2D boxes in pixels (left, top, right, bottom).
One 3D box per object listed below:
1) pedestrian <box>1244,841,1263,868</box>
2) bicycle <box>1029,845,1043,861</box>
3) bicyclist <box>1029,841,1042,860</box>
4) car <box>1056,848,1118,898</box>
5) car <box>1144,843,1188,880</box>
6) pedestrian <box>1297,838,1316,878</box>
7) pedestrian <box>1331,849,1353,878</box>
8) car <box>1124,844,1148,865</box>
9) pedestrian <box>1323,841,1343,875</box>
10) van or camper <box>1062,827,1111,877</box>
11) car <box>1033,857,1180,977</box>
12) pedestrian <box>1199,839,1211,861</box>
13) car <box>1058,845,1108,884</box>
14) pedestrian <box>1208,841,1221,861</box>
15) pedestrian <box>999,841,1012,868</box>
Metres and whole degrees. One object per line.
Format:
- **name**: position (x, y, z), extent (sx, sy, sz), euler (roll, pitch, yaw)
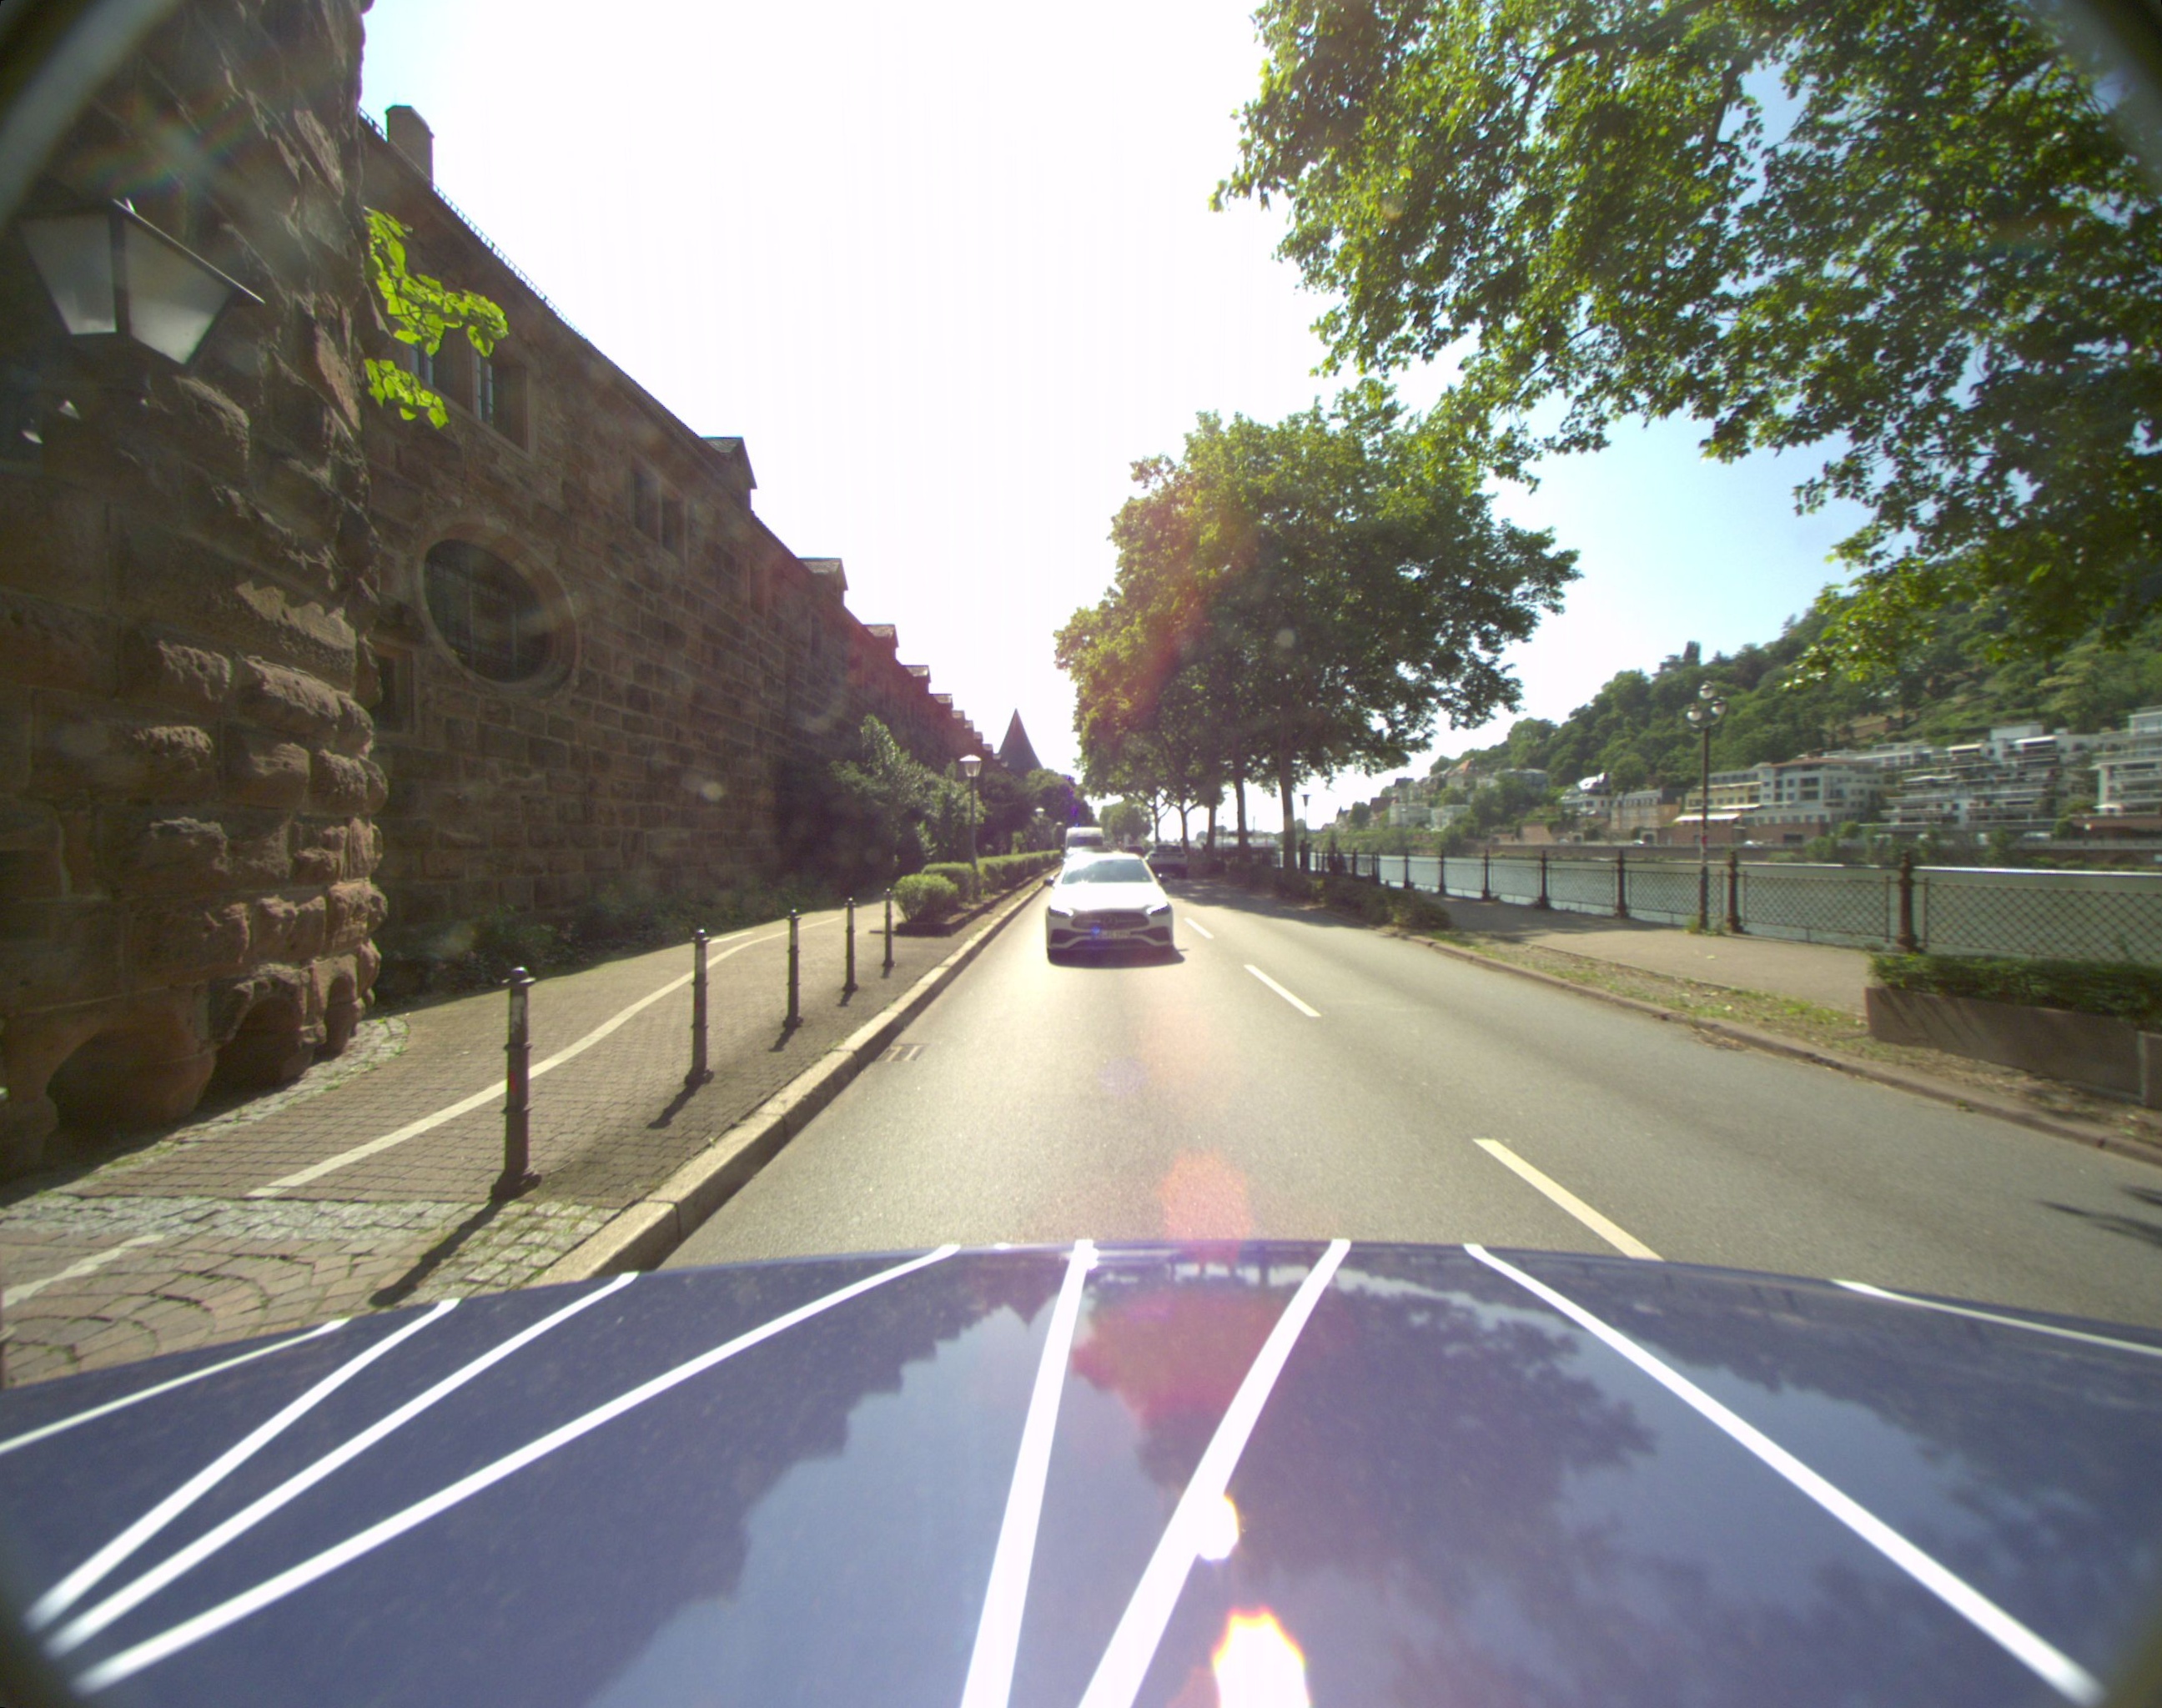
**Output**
- **pedestrian**: position (13.179, 0.063, 57.947), extent (1.047, 2.002, 1.036), euler (-1, 2, 31)
- **bicycle**: position (-3.164, -0.080, 53.337), extent (0.812, 0.967, 2.409), euler (-2, 2, 0)
- **bicyclist**: position (-3.159, -0.252, 53.345), extent (0.812, 1.264, 0.852), euler (-2, 2, 0)
- **car**: position (0.221, 0.559, 25.265), extent (1.833, 1.428, 4.269), euler (-2, 1, 1)
- **car**: position (4.087, 0.336, 37.064), extent (1.773, 1.651, 3.999), euler (2, 1, 1)
- **pedestrian**: position (11.005, 0.188, 37.058), extent (0.767, 1.890, 0.771), euler (1, 1, 8)
- **pedestrian**: position (12.351, 0.436, 36.018), extent (0.768, 1.379, 0.770), euler (1, 1, 0)
- **car**: position (4.539, 0.023, 63.166), extent (1.677, 1.650, 4.222), euler (2, 1, 1)
- **pedestrian**: position (13.187, 0.193, 39.784), extent (0.777, 1.748, 0.830), euler (1, 1, 0)
- **van or camper**: position (0.255, -0.145, 39.075), extent (2.313, 2.358, 5.034), euler (1, 1, 0)
- **car**: position (0.367, 0.821, 11.850), extent (1.833, 1.395, 4.269), euler (-2, 1, 1)
- **pedestrian**: position (10.326, -0.340, 63.122), extent (0.806, 1.839, 0.929), euler (-2, 2, 1)
- **car**: position (0.118, 0.364, 30.508), extent (1.833, 1.395, 4.423), euler (-2, 1, 1)
- **pedestrian**: position (11.140, -0.234, 63.478), extent (0.897, 1.625, 1.059), euler (-2, 2, 6)
- **pedestrian**: position (-4.531, 0.019, 45.428), extent (0.643, 1.555, 0.563), euler (-2, 2, 1)
